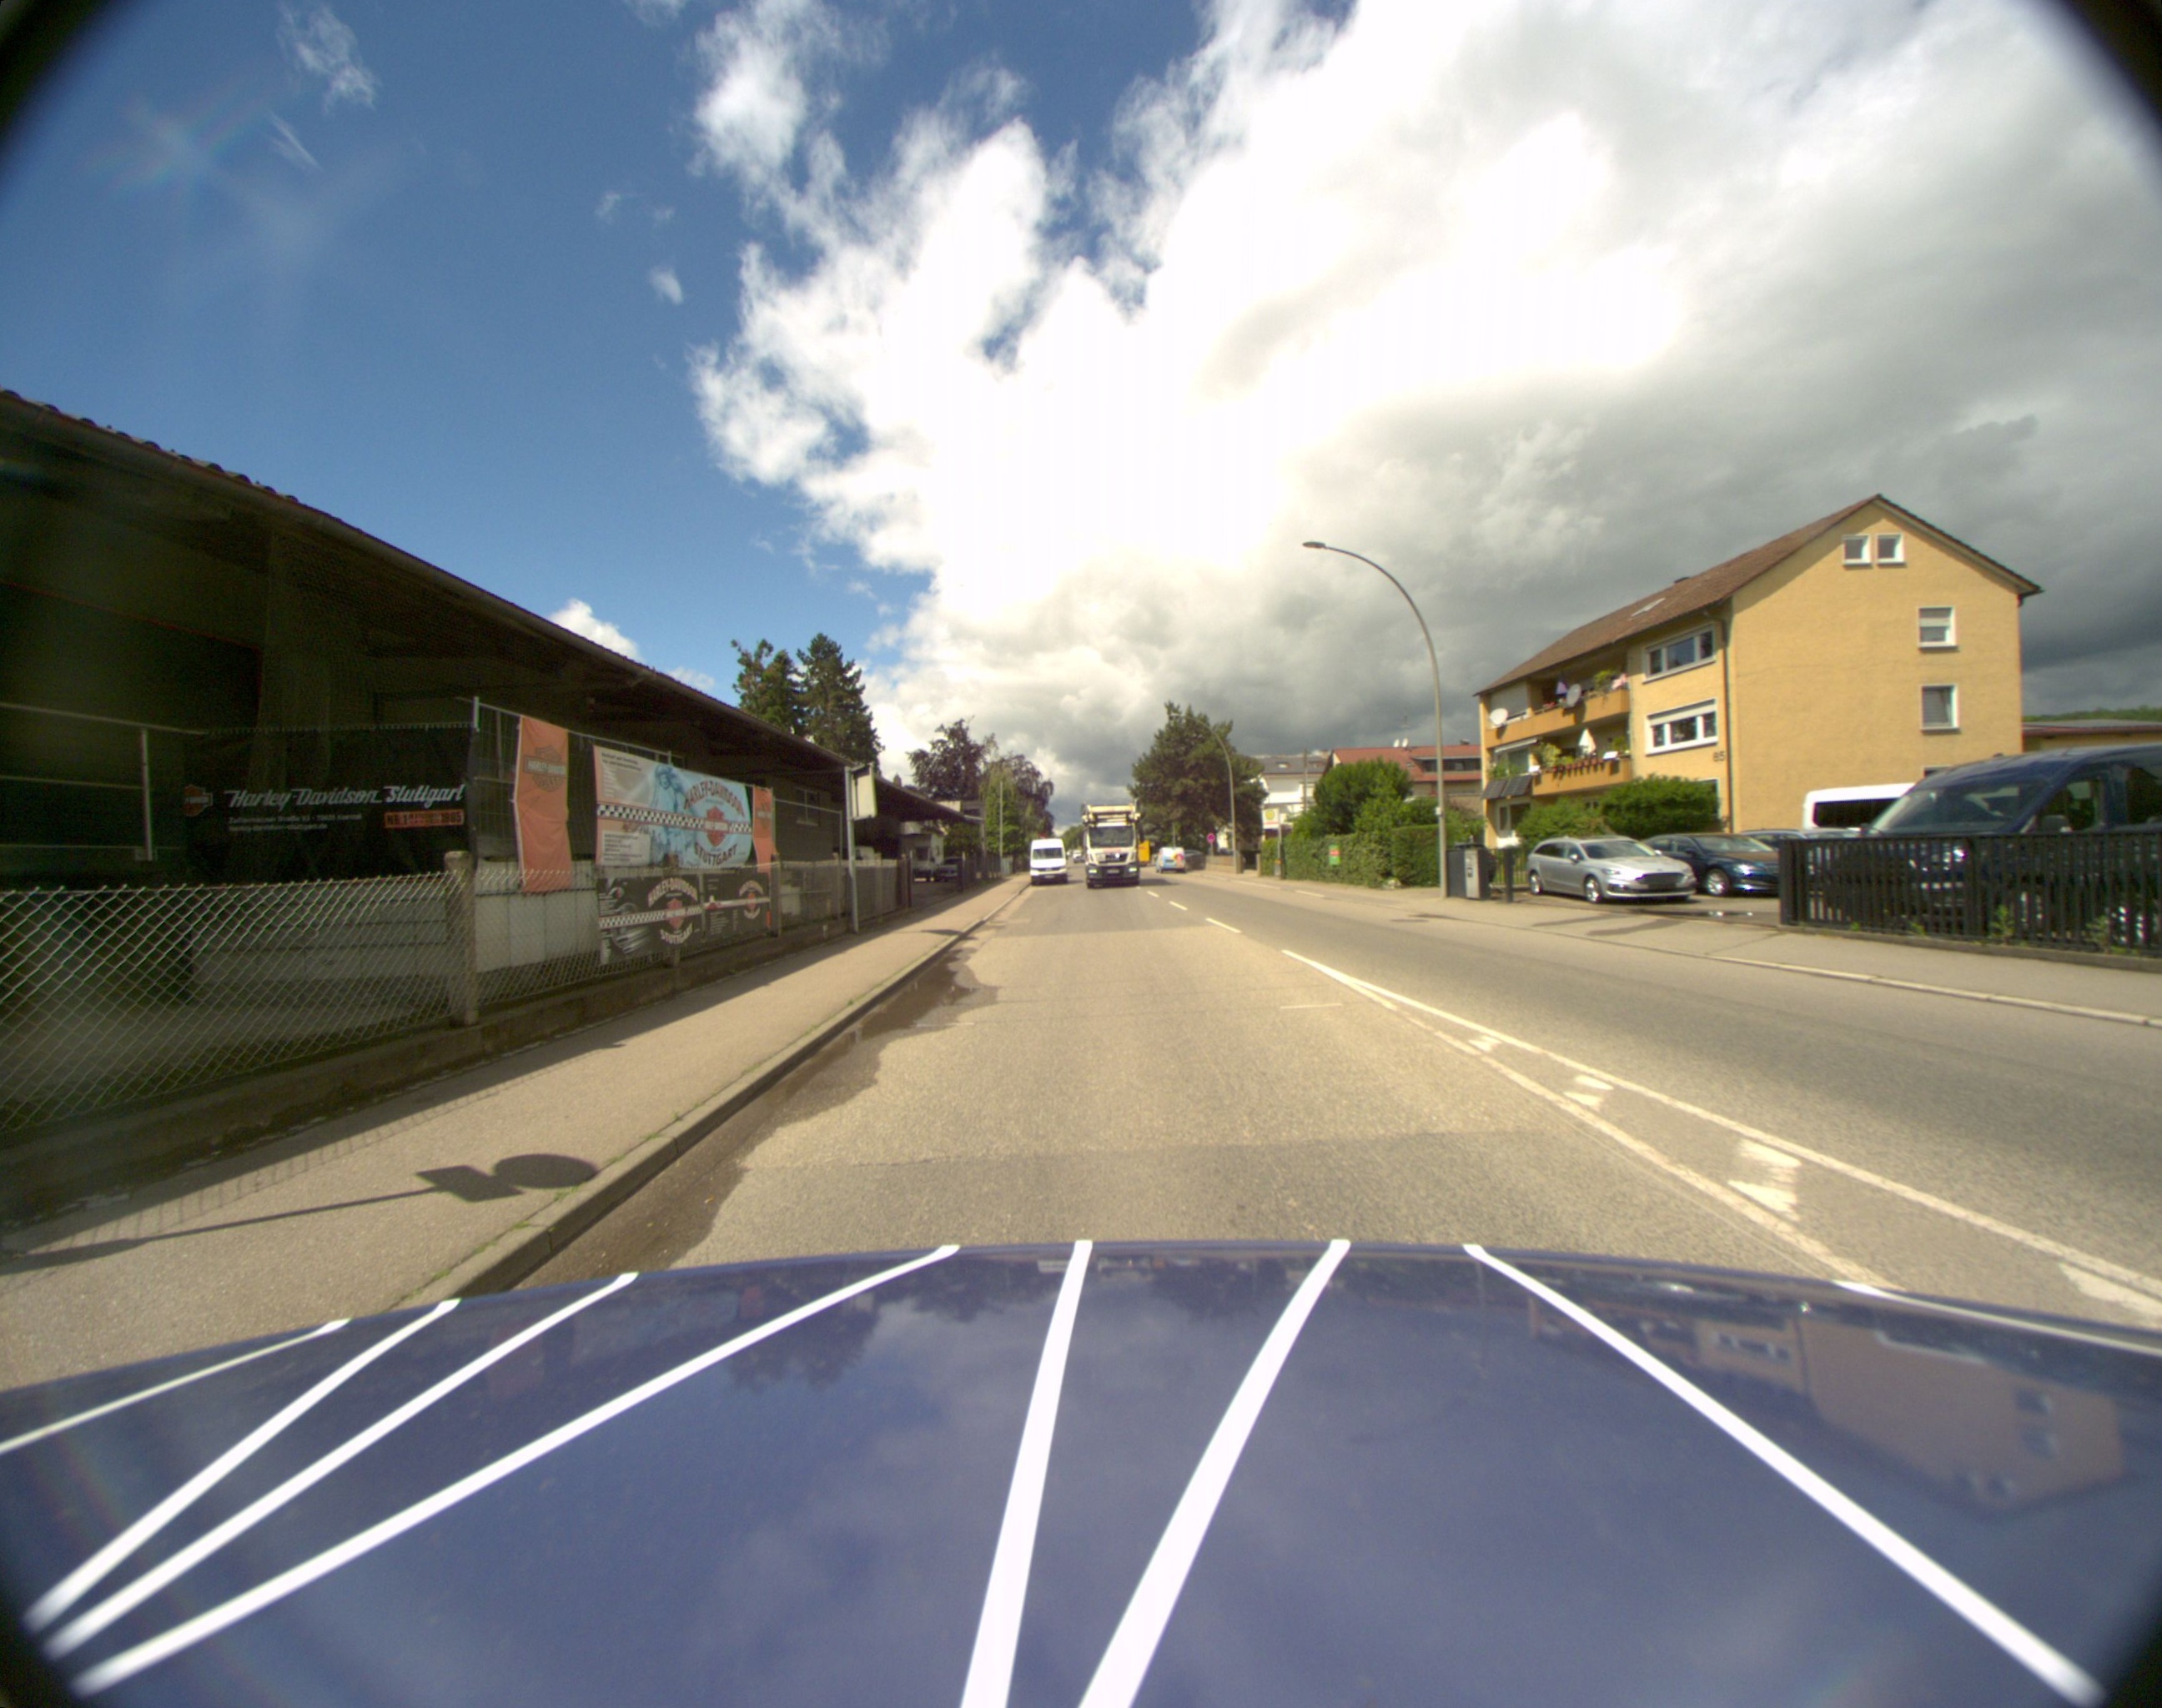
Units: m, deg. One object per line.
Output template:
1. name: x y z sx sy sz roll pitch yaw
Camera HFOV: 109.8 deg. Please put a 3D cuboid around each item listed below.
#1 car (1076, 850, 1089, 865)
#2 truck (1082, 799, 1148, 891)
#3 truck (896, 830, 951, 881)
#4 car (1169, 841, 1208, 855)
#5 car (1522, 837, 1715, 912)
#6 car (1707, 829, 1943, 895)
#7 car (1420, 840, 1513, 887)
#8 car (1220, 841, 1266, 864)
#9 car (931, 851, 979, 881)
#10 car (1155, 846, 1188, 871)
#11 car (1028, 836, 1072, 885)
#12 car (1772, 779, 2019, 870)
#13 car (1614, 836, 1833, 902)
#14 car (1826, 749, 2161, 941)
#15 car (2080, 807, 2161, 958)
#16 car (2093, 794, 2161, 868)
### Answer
1. car: 0.248 0.621 126.874 2.091 2.310 5.202 -2 1 1
2. truck: 1.492 -0.435 37.236 2.664 3.789 9.814 -2 1 1
3. truck: -9.465 0.054 46.222 2.091 2.812 5.202 -2 1 1
4. car: 14.155 -0.743 99.980 4.735 1.669 2.218 -2 1 -1
5. car: 12.332 0.397 17.842 1.887 1.450 4.352 -3 1 8
6. car: 17.905 0.150 18.602 1.883 1.364 3.999 -2 1 1
7. car: 14.921 0.341 29.635 1.831 1.656 3.522 -2 1 1
8. car: 15.283 -0.145 71.836 2.003 2.002 3.990 -3 1 -32
9. car: -7.301 0.646 44.582 1.862 1.521 5.202 -2 1 1
10. car: 6.535 0.279 55.201 1.730 1.671 3.999 -2 1 -2
11. car: -1.689 0.321 43.267 2.091 2.519 5.202 -2 1 1
12. car: 20.425 -0.685 19.353 1.998 2.002 3.999 -2 1 1
13. car: 15.097 0.304 18.190 1.885 1.334 3.999 -2 1 1
14. car: 14.235 -0.179 10.665 5.363 2.371 2.104 -2 1 2
15. car: 12.375 0.286 6.918 1.813 1.612 3.621 -2 1 1
16. car: 28.706 -0.621 18.809 1.998 1.915 3.999 -2 1 1
